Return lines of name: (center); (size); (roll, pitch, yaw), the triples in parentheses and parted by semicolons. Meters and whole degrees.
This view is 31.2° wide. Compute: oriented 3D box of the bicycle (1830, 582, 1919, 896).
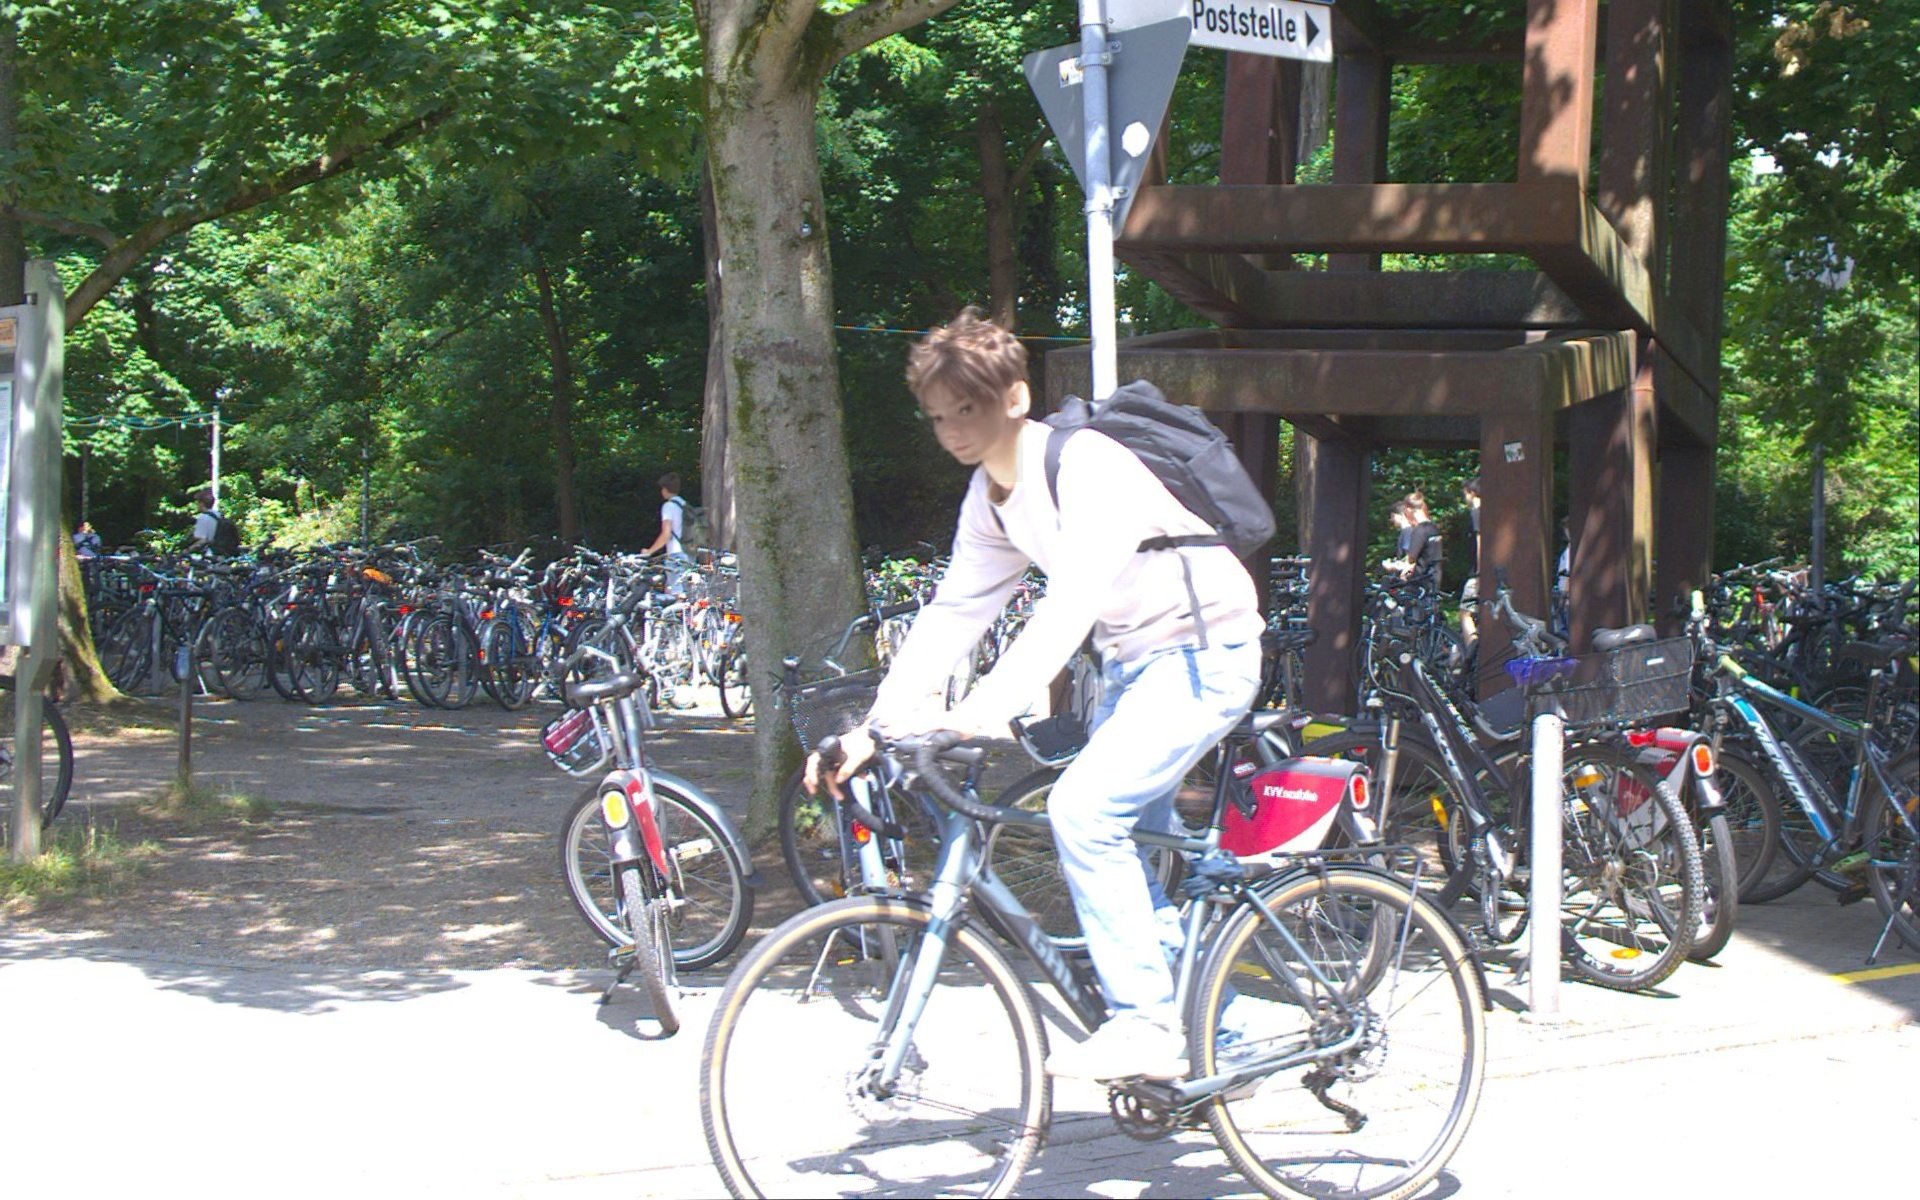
bicycle: (3.858, 0.525, 12.025); (0.504, 1.104, 1.630); (2, 1, -32)

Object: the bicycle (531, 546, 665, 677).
bicycle: (-3.125, 0.089, 29.836); (0.473, 1.080, 1.858); (3, 1, 15)

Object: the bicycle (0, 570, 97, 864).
bicycle: (-4.165, 0.420, 13.956); (0.392, 1.104, 1.838); (1, 2, -44)

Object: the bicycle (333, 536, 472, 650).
bicycle: (-5.493, -0.072, 33.954); (0.473, 1.080, 1.697); (3, 1, 23)

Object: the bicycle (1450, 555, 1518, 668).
bicycle: (5.425, 0.103, 35.637); (0.516, 1.106, 1.778); (3, 1, 4)

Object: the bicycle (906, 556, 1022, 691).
bicycle: (0.047, 0.180, 28.892); (0.473, 1.080, 1.858); (3, 1, 15)

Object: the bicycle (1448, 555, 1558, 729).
bicycle: (3.672, 0.261, 23.162); (0.501, 1.104, 1.779); (3, 1, 15)

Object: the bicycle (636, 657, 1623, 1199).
bicycle: (0.315, 0.695, 6.727); (1.813, 1.104, 0.641); (0, 3, -14)

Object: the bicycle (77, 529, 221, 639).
bicycle: (-8.286, -0.160, 35.188); (0.473, 1.080, 1.697); (3, 1, 23)

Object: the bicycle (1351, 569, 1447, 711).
bicycle: (3.541, 0.301, 27.611); (0.473, 1.080, 1.858); (3, 1, 15)

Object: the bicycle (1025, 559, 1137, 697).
bicycle: (1.017, 0.215, 28.447); (0.473, 1.080, 1.858); (3, 1, 15)

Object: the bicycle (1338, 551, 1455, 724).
bicycle: (2.982, 0.236, 23.375); (0.501, 1.104, 1.779); (3, 1, 15)

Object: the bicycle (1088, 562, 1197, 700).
bicycle: (1.513, 0.236, 28.265); (0.473, 1.080, 1.858); (3, 1, 15)

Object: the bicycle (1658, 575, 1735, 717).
bicycle: (5.943, 0.352, 27.689); (0.473, 1.080, 1.698); (3, 1, 15)

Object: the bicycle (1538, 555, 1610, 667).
bicycle: (6.355, 0.100, 35.634); (0.516, 1.106, 1.778); (3, 1, 4)

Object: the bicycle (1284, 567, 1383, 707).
bicycle: (3.040, 0.280, 27.890); (0.473, 1.080, 1.858); (3, 1, 15)

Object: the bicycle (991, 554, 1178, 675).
bicycle: (1.202, 0.135, 33.416); (1.697, 1.080, 0.603); (3, 1, 32)

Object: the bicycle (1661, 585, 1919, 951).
bicycle: (3.068, 0.541, 11.196); (0.495, 1.104, 1.630); (2, 1, -32)

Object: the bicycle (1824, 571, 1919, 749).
bicycle: (6.219, 0.383, 22.675); (0.629, 1.104, 1.699); (3, 1, 3)

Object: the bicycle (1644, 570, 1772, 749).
bicycle: (4.955, 0.371, 22.844); (0.501, 1.104, 1.699); (3, 1, 3)

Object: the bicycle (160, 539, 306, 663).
bicycle: (-6.627, -0.004, 31.413); (0.473, 1.080, 1.858); (3, 1, 15)

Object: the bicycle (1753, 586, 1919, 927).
bicycle: (3.512, 0.546, 11.540); (0.627, 1.104, 1.630); (2, 1, -33)

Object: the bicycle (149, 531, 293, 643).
bicycle: (-7.422, -0.135, 34.590); (0.473, 1.080, 1.697); (3, 1, 23)

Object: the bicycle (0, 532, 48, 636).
bicycle: (-10.314, -0.169, 36.047); (0.473, 1.080, 1.697); (3, 1, 23)

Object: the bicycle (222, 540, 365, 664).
bicycle: (-6.065, 0.006, 31.365); (0.473, 1.080, 1.858); (3, 1, 15)

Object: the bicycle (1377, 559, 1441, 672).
bicycle: (4.656, 0.146, 35.686); (0.516, 1.106, 1.778); (3, 1, 4)

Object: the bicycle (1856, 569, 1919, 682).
bicycle: (9.701, 0.258, 35.478); (0.516, 1.106, 1.778); (3, 1, 4)

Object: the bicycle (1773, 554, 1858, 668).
bicycle: (8.799, 0.098, 35.417); (0.516, 1.106, 1.778); (3, 1, 4)

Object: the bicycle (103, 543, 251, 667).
bicycle: (-7.188, 0.034, 31.647); (0.473, 1.080, 1.858); (3, 1, 15)

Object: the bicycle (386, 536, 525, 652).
bicycle: (-4.919, -0.060, 33.603); (0.473, 1.080, 1.697); (3, 1, 23)

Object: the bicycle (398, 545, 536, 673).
bicycle: (-4.334, 0.068, 30.334); (0.473, 1.080, 1.858); (3, 1, 15)

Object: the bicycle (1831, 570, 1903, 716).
bicycle: (7.093, 0.317, 26.876); (0.473, 1.080, 1.698); (3, 1, 15)

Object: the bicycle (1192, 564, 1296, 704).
bicycle: (2.324, 0.259, 27.954); (0.473, 1.080, 1.858); (3, 1, 15)

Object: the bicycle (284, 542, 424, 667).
bicycle: (-5.464, 0.027, 31.089); (0.473, 1.080, 1.858); (3, 1, 15)

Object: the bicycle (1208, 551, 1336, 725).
bicycle: (2.128, 0.235, 23.276); (0.501, 1.104, 1.905); (3, 1, 15)

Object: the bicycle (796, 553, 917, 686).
bicycle: (-0.865, 0.149, 29.289); (0.473, 1.080, 1.858); (3, 1, 15)

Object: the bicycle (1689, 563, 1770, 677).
bicycle: (7.924, 0.192, 35.434); (0.516, 1.106, 1.778); (3, 1, 4)

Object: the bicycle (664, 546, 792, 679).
bicycle: (-1.975, 0.092, 29.456); (0.473, 1.080, 1.858); (3, 1, 15)

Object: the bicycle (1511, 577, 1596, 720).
bicycle: (4.765, 0.373, 27.553); (0.473, 1.080, 1.698); (3, 1, 15)

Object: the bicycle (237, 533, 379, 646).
bicycle: (-6.452, -0.104, 34.110); (0.473, 1.080, 1.697); (3, 1, 23)
